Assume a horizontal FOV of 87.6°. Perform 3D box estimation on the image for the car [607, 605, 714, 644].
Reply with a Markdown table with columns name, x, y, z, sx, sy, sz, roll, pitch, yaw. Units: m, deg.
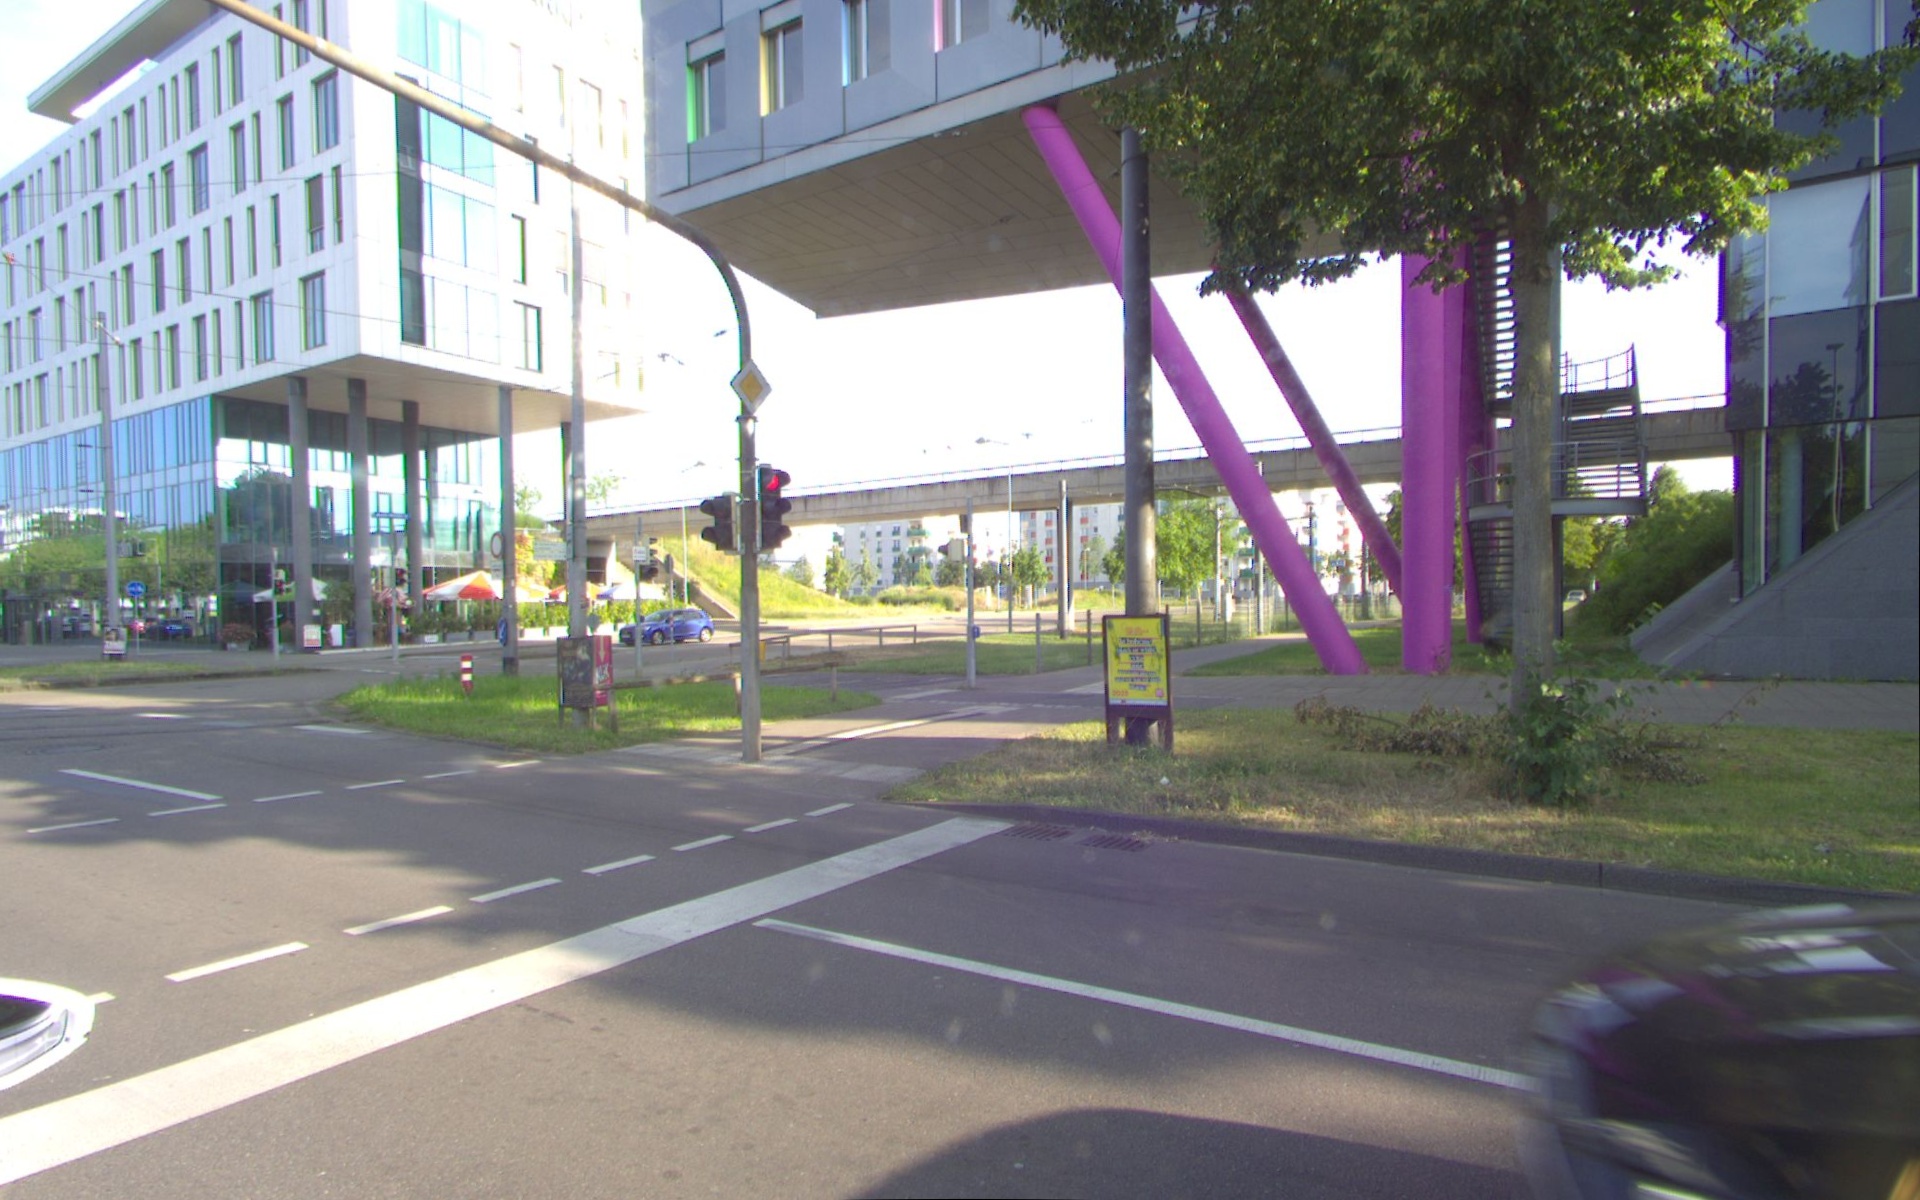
| name | x | y | z | sx | sy | sz | roll | pitch | yaw |
| --- | --- | --- | --- | --- | --- | --- | --- | --- | --- |
| car | -12.478 | 0.987 | 41.954 | 1.832 | 1.443 | 4.176 | 0 | 1 | 31 |

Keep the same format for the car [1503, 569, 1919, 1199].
| name | x | y | z | sx | sy | sz | roll | pitch | yaw |
| --- | --- | --- | --- | --- | --- | --- | --- | --- | --- |
| car | 3.025 | 0.720 | 0.785 | 4.490 | 1.469 | 1.836 | 0 | -1 | 32 |
